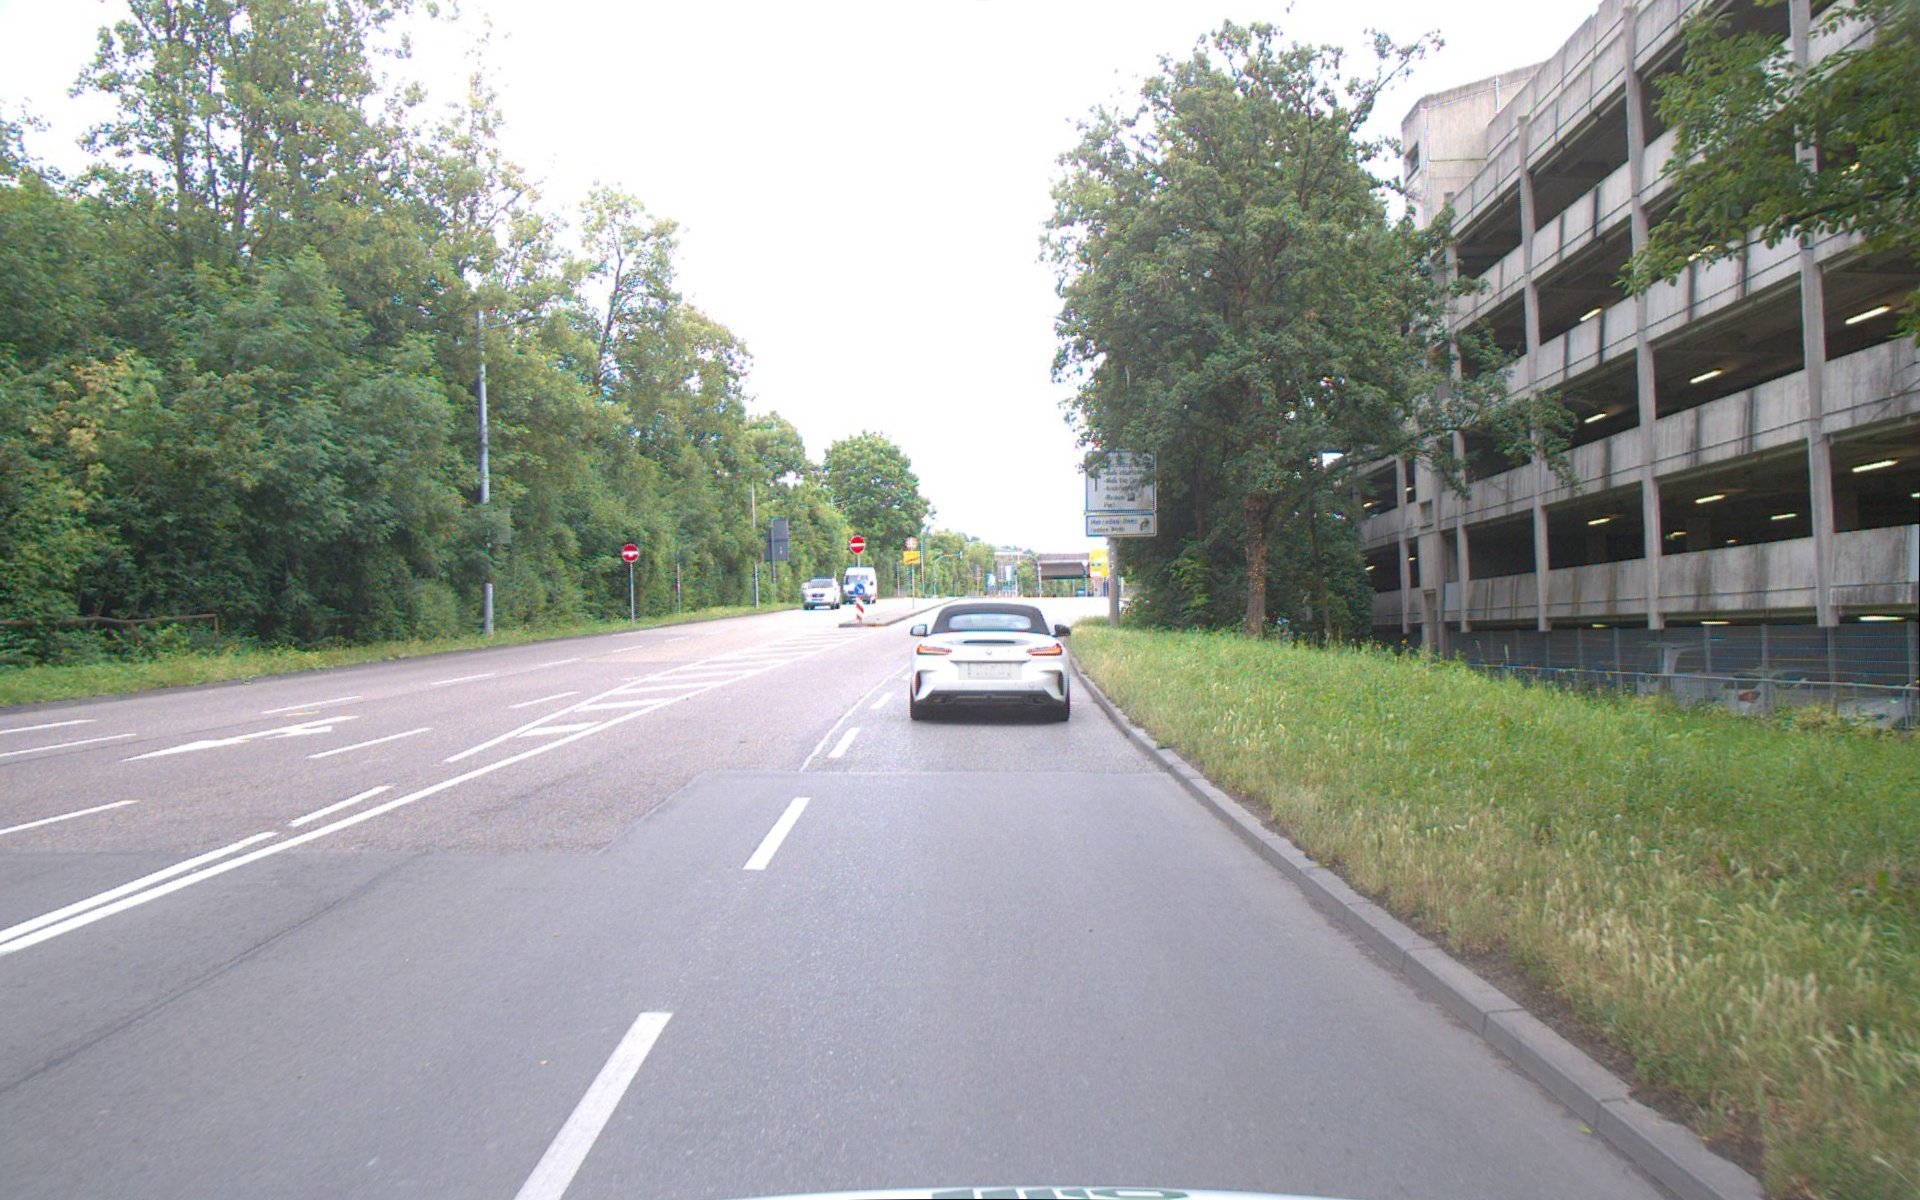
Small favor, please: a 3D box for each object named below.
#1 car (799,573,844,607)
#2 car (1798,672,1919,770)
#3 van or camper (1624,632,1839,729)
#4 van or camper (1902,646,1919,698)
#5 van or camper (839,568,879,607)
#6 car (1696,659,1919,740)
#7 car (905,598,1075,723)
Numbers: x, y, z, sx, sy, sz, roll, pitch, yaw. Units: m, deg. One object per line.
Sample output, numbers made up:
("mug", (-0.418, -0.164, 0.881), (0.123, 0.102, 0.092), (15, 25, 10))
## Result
("car", (-7.968, -0.607, 95.577), (1.775, 1.862, 4.387), (-1, 1, 6))
("car", (17.404, 2.069, 29.201), (4.168, 1.533, 1.949), (-2, -1, -1))
("van or camper", (17.395, 1.783, 37.418), (3.923, 1.988, 1.840), (-2, -1, -1))
("van or camper", (28.743, 1.975, 46.352), (3.635, 1.434, 1.727), (-2, -1, 2))
("van or camper", (-7.189, -0.861, 118.666), (2.235, 2.600, 6.860), (0, -1, 1))
("car", (17.571, 2.020, 34.063), (3.923, 1.462, 1.949), (-2, -2, -1))
("car", (0.359, 0.658, 19.956), (1.836, 1.332, 3.873), (1, 0, 1))
